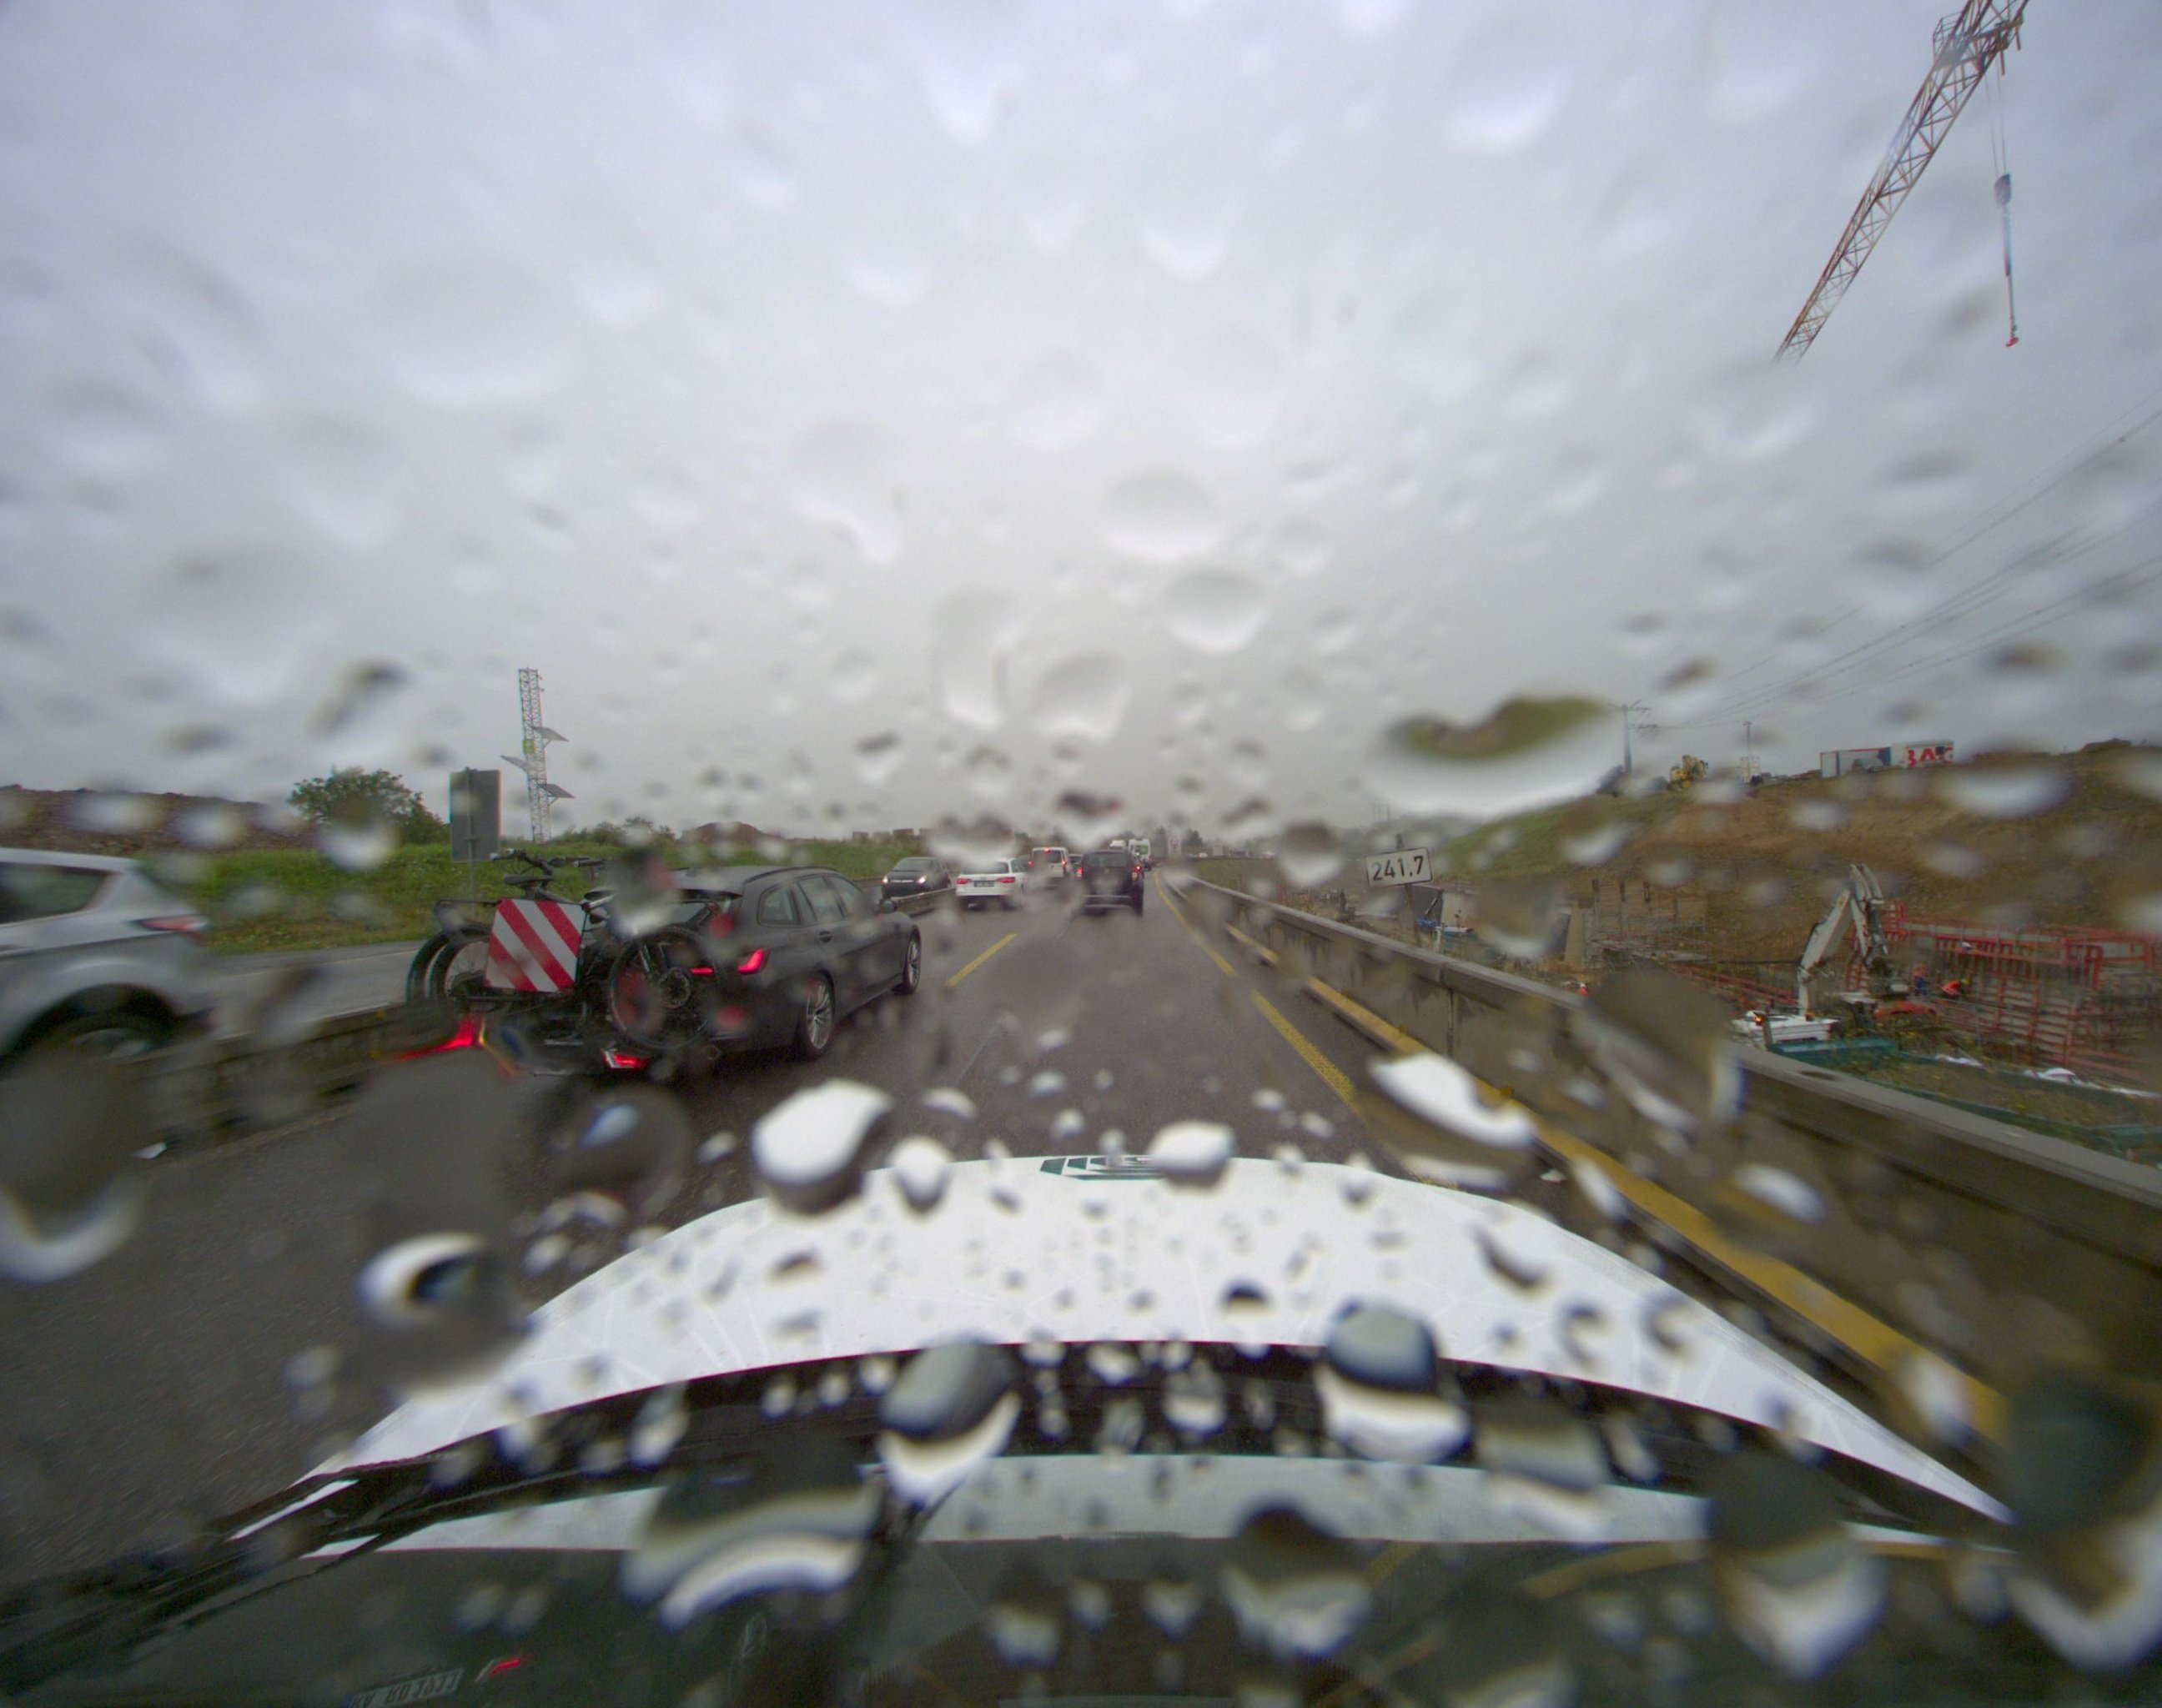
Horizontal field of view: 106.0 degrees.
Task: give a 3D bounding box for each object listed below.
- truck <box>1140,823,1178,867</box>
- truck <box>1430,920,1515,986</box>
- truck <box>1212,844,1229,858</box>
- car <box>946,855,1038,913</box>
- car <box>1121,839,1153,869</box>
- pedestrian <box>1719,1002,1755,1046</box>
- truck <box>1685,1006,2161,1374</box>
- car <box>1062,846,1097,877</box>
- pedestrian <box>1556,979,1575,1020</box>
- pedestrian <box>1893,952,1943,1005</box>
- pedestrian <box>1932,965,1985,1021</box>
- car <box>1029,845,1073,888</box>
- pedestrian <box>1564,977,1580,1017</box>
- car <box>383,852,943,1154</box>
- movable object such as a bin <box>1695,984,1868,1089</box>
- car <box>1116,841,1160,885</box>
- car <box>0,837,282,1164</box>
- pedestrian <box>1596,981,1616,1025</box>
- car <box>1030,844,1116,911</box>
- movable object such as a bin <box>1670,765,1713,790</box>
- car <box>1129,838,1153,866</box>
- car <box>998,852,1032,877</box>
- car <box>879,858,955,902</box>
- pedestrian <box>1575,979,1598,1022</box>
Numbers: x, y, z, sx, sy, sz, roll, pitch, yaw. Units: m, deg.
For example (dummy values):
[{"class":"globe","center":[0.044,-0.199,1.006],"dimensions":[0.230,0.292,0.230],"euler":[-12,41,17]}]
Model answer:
[{"class":"truck","center":[9.627,-0.986,99.028],"dimensions":[3.520,5.077,10.474],"euler":[0,-1,11]},{"class":"truck","center":[26.808,6.667,56.215],"dimensions":[2.714,3.491,9.086],"euler":[0,-1,8]},{"class":"truck","center":[37.597,-0.838,218.759],"dimensions":[3.445,3.715,8.454],"euler":[-1,0,16]},{"class":"car","center":[-2.428,0.810,23.238],"dimensions":[1.817,1.499,4.006],"euler":[0,-1,5]},{"class":"car","center":[3.511,0.016,50.231],"dimensions":[1.817,1.815,4.006],"euler":[0,-1,6]},{"class":"pedestrian","center":[34.932,9.034,43.400],"dimensions":[0.891,1.999,0.907],"euler":[10,0,7]},{"class":"truck","center":[16.285,5.483,15.751],"dimensions":[2.690,3.503,8.948],"euler":[0,-1,1]},{"class":"car","center":[-0.061,0.446,49.338],"dimensions":[1.818,1.815,4.005],"euler":[0,-1,4]},{"class":"pedestrian","center":[24.207,7.262,40.674],"dimensions":[0.570,1.869,0.737],"euler":[0,-1,10]},{"class":"pedestrian","center":[35.832,5.318,34.887],"dimensions":[0.898,1.999,0.901],"euler":[10,0,8]},{"class":"pedestrian","center":[35.547,5.603,33.007],"dimensions":[0.898,1.999,0.901],"euler":[10,0,8]},{"class":"car","center":[-1.307,0.557,36.980],"dimensions":[1.820,1.815,3.999],"euler":[0,-1,0]},{"class":"pedestrian","center":[24.932,7.273,41.344],"dimensions":[0.568,1.869,0.740],"euler":[-1,-1,40]},{"class":"car","center":[-2.707,0.790,7.147],"dimensions":[1.727,1.462,5.635],"euler":[0,1,3]},{"class":"movable object such as a bin","center":[22.608,5.822,26.479],"dimensions":[3.136,2.738,2.971],"euler":[0,-1,4]},{"class":"car","center":[2.439,0.396,35.396],"dimensions":[1.819,1.815,4.002],"euler":[0,-1,3]},{"class":"car","center":[-6.597,0.766,3.596],"dimensions":[1.783,1.723,4.290],"euler":[0,0,2]},{"class":"pedestrian","center":[25.254,7.151,39.185],"dimensions":[0.726,1.944,0.579],"euler":[-1,-1,42]},{"class":"car","center":[-0.100,0.578,21.377],"dimensions":[1.817,1.591,4.006],"euler":[0,-1,5]},{"class":"movable object such as a bin","center":[68.432,-8.543,91.383],"dimensions":[2.413,2.443,3.982],"euler":[0,1,11]},{"class":"car","center":[5.377,-0.152,72.505],"dimensions":[1.816,2.437,4.166],"euler":[0,-1,8]},{"class":"car","center":[-4.138,0.643,51.369],"dimensions":[1.659,1.466,3.734],"euler":[0,0,3]},{"class":"car","center":[-5.738,0.879,29.013],"dimensions":[1.603,1.443,4.464],"euler":[0,-1,2]},{"class":"pedestrian","center":[24.695,7.156,39.785],"dimensions":[0.576,1.944,0.729],"euler":[0,-1,-24]}]
